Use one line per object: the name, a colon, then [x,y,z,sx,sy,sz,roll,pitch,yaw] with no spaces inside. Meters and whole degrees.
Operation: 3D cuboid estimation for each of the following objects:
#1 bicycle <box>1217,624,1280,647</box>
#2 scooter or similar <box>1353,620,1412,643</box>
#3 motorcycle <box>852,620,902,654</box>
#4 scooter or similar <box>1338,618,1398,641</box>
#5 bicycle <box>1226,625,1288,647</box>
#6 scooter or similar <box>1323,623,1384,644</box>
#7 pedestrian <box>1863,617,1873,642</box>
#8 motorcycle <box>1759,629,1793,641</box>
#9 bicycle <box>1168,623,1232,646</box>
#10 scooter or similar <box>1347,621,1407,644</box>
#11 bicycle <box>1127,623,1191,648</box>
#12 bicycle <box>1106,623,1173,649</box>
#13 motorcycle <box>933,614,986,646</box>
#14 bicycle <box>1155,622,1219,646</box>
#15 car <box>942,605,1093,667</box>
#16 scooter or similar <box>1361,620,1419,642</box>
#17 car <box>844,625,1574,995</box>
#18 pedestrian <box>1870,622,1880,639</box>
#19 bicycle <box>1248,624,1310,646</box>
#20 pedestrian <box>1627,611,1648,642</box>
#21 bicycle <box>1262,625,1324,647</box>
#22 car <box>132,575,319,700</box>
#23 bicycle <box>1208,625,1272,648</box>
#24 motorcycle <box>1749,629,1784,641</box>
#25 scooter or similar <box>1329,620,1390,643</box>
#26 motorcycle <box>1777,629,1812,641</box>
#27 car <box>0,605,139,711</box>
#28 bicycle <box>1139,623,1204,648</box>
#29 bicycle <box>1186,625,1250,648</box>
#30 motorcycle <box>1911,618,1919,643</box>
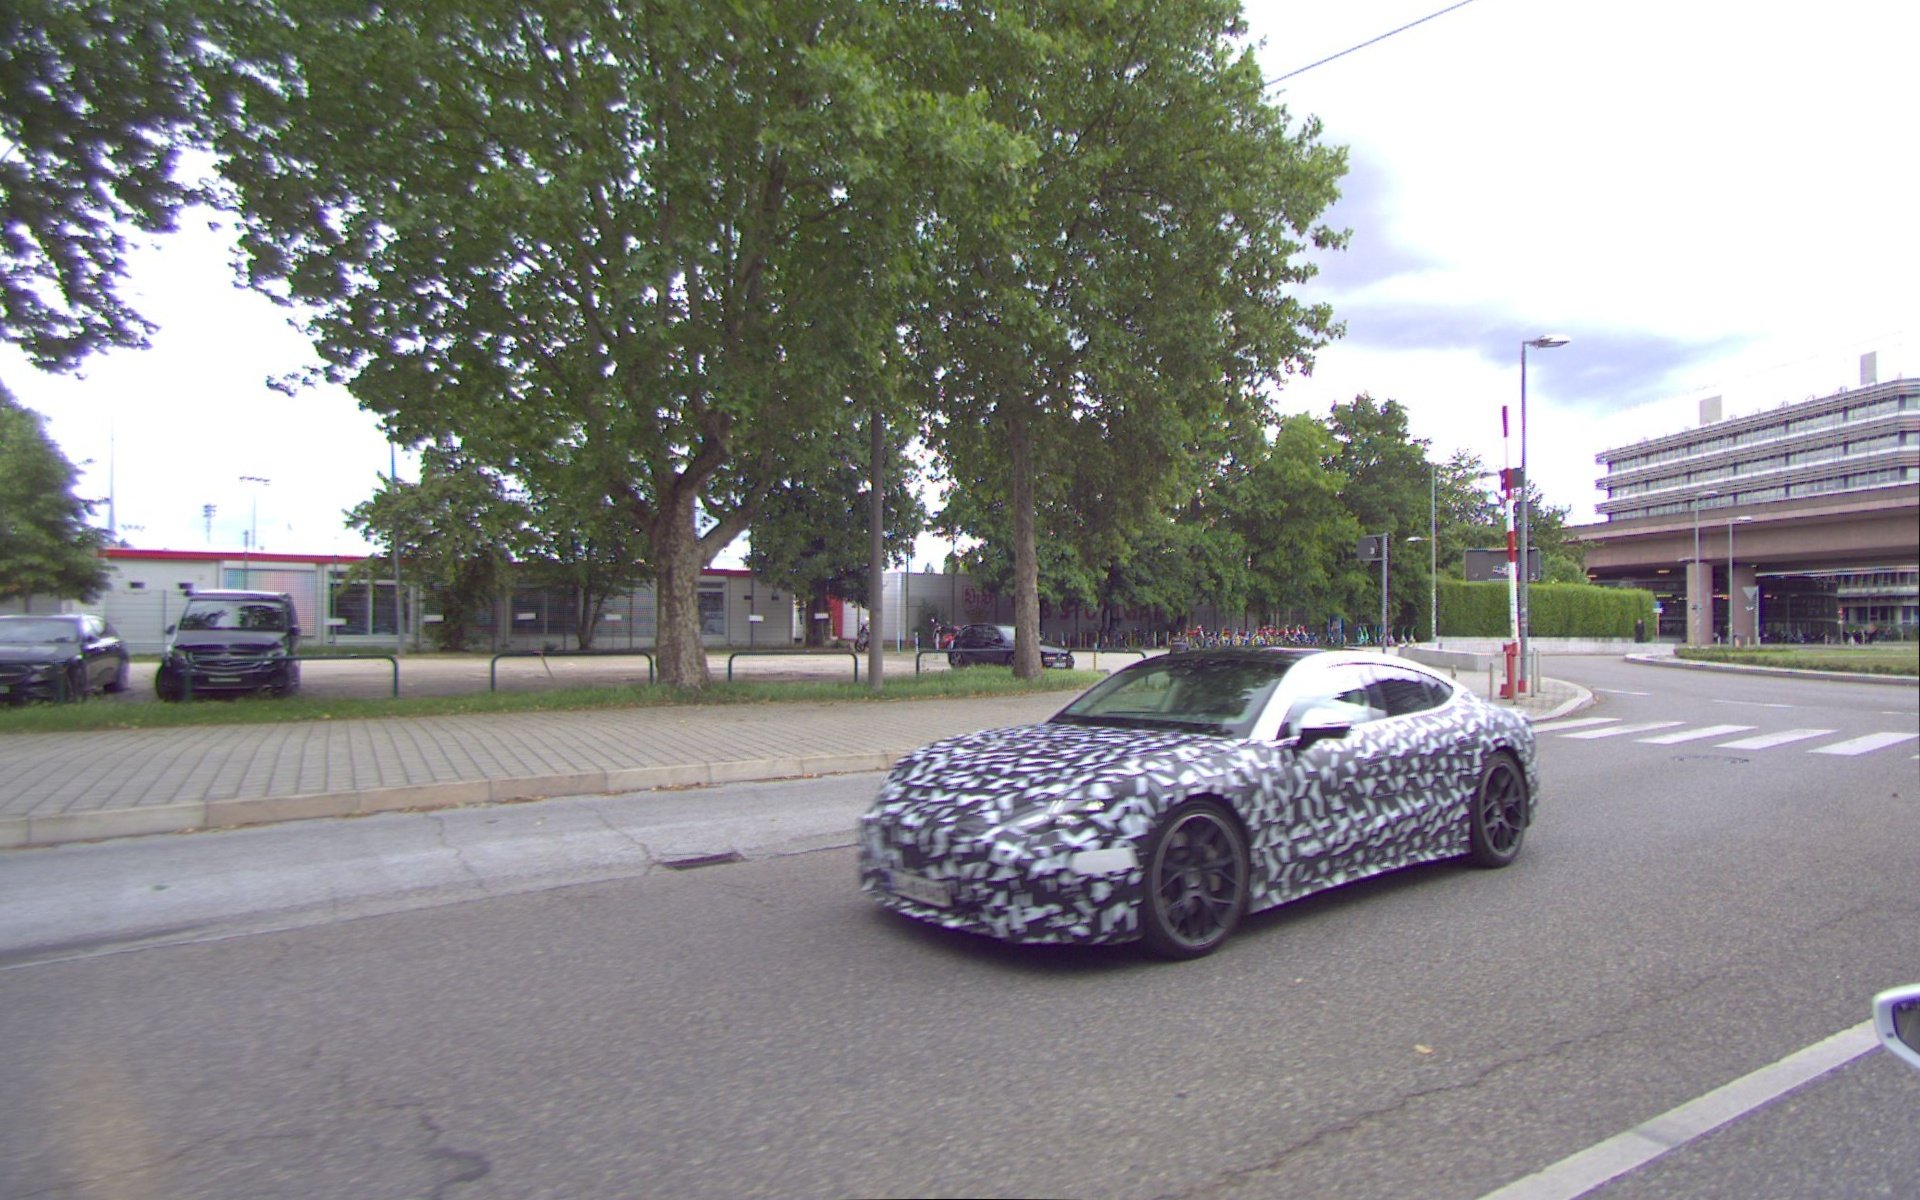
bicycle: [14.926,1.821,52.114,3.147,1.112,0.769,0,-1,44]
scooter or similar: [25.074,1.843,59.637,3.147,1.266,0.769,0,-1,44]
motorcycle: [-3.342,1.451,40.028,0.762,1.238,3.650,1,-1,-24]
scooter or similar: [23.412,1.686,57.678,3.147,1.266,0.769,0,-1,44]
bicycle: [15.628,1.876,52.938,3.147,1.112,0.769,0,-1,44]
scooter or similar: [21.997,1.841,56.178,3.147,1.112,0.769,0,-1,44]
pedestrian: [75.874,2.465,83.966,0.595,2.040,0.582,1,-1,-43]
motorcycle: [81.379,3.462,100.210,1.021,1.127,2.657,1,-1,-10]
bicycle: [12.026,1.721,50.491,3.147,1.112,0.769,0,-1,44]
scooter or similar: [24.374,1.868,58.768,3.147,1.266,0.769,0,-1,44]
bicycle: [9.547,1.701,48.309,3.148,1.112,0.768,1,-1,44]
bicycle: [8.357,1.660,46.907,3.148,1.112,0.768,1,-1,44]
motorcycle: [-0.068,1.224,41.981,0.762,1.238,3.650,1,-1,-24]
bicycle: [11.254,1.673,49.904,3.148,1.112,0.768,1,-1,44]
car: [1.582,1.004,28.496,2.214,1.626,3.954,2,-2,-40]
scooter or similar: [25.770,1.863,60.243,3.147,1.266,0.769,0,-1,44]
car: [1.808,0.920,6.276,4.771,1.472,1.887,1,-3,-38]
pedestrian: [112.315,3.702,123.278,0.766,2.040,0.668,0,-1,35]
bicycle: [17.001,1.838,53.549,3.147,1.112,0.769,0,-1,44]
pedestrian: [45.417,1.762,67.330,0.595,2.040,1.033,1,-1,-42]
bicycle: [17.977,1.931,54.249,3.147,1.112,0.769,0,-1,44]
car: [-13.690,0.660,19.048,2.235,2.052,4.597,1,-1,-29]
bicycle: [14.222,1.863,51.174,3.148,1.111,0.769,-2,-3,43]
motorcycle: [80.157,3.437,99.844,1.021,1.127,2.657,1,-1,-10]
scooter or similar: [22.623,1.773,56.883,3.147,1.266,0.769,0,-1,44]
motorcycle: [83.150,3.489,100.157,1.021,1.127,2.657,1,-1,-10]
car: [-16.091,0.917,17.347,2.083,1.588,4.606,2,-1,-29]
bicycle: [10.276,1.726,48.952,3.148,1.112,0.768,1,-1,44]
bicycle: [13.063,1.854,50.974,3.147,1.112,0.769,-1,-2,44]
motorcycle: [50.906,1.611,52.733,1.857,1.268,0.667,1,-1,-22]
